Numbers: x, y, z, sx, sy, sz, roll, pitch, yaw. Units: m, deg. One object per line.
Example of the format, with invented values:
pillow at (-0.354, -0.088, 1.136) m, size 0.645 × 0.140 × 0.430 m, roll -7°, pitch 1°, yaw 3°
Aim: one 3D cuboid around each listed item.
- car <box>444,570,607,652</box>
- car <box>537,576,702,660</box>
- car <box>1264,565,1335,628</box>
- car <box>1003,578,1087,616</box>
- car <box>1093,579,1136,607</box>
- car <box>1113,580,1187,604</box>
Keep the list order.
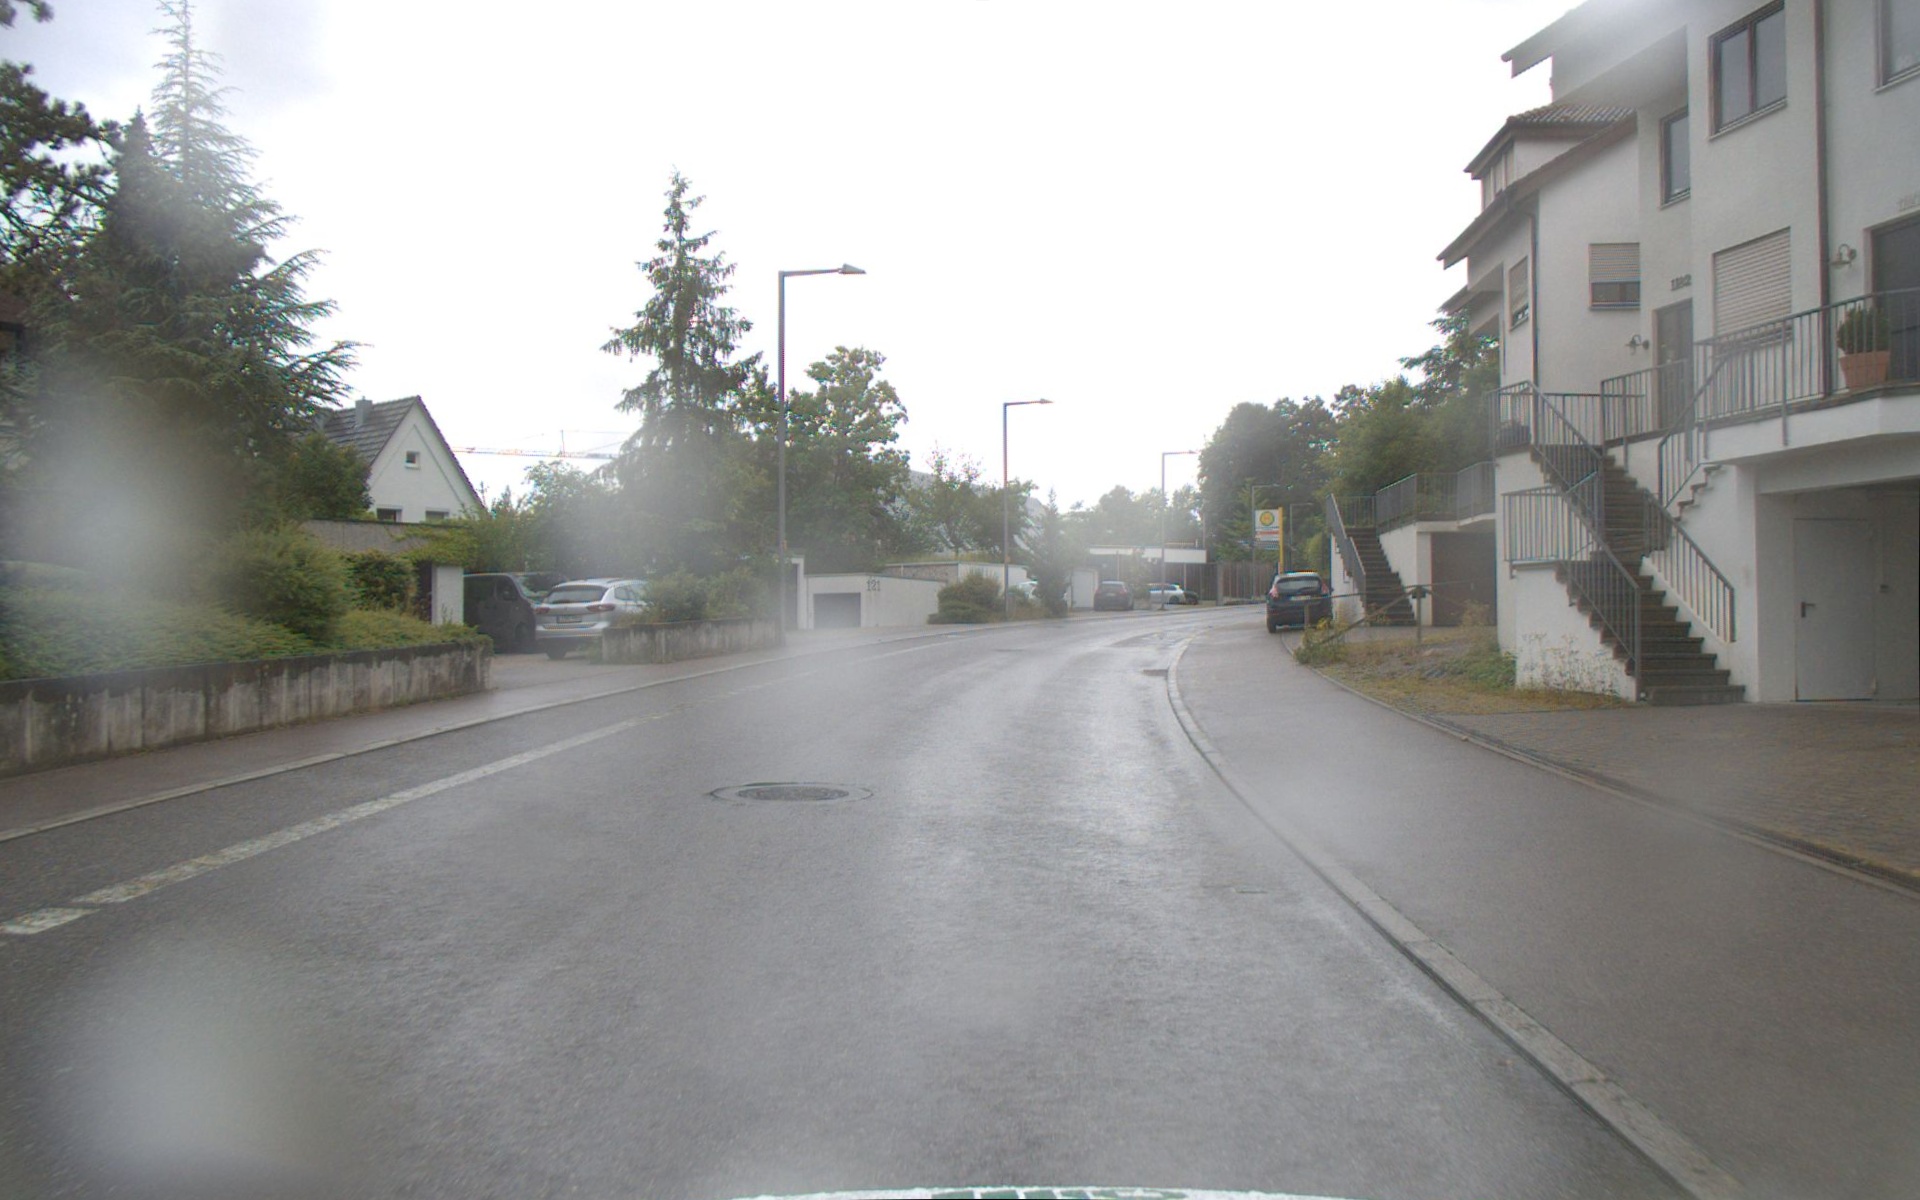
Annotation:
car at (-10.533, 0.262, 39.980) m, size 3.928 × 1.870 × 1.989 m, roll -1°, pitch 0°, yaw 41°
car at (-6.727, 0.334, 33.119) m, size 1.697 × 1.578 × 4.003 m, roll -1°, pitch 0°, yaw 13°
car at (8.932, -0.108, 43.707) m, size 1.668 × 1.479 × 4.024 m, roll -4°, pitch 0°, yaw 11°
car at (3.744, -0.161, 72.204) m, size 1.675 × 1.580 × 4.375 m, roll 0°, pitch 1°, yaw 34°
car at (7.984, -0.368, 85.268) m, size 1.794 × 1.430 × 4.264 m, roll 0°, pitch 1°, yaw 11°
car at (12.271, -0.509, 106.999) m, size 4.450 × 1.467 × 1.752 m, roll 0°, pitch 0°, yaw -19°
